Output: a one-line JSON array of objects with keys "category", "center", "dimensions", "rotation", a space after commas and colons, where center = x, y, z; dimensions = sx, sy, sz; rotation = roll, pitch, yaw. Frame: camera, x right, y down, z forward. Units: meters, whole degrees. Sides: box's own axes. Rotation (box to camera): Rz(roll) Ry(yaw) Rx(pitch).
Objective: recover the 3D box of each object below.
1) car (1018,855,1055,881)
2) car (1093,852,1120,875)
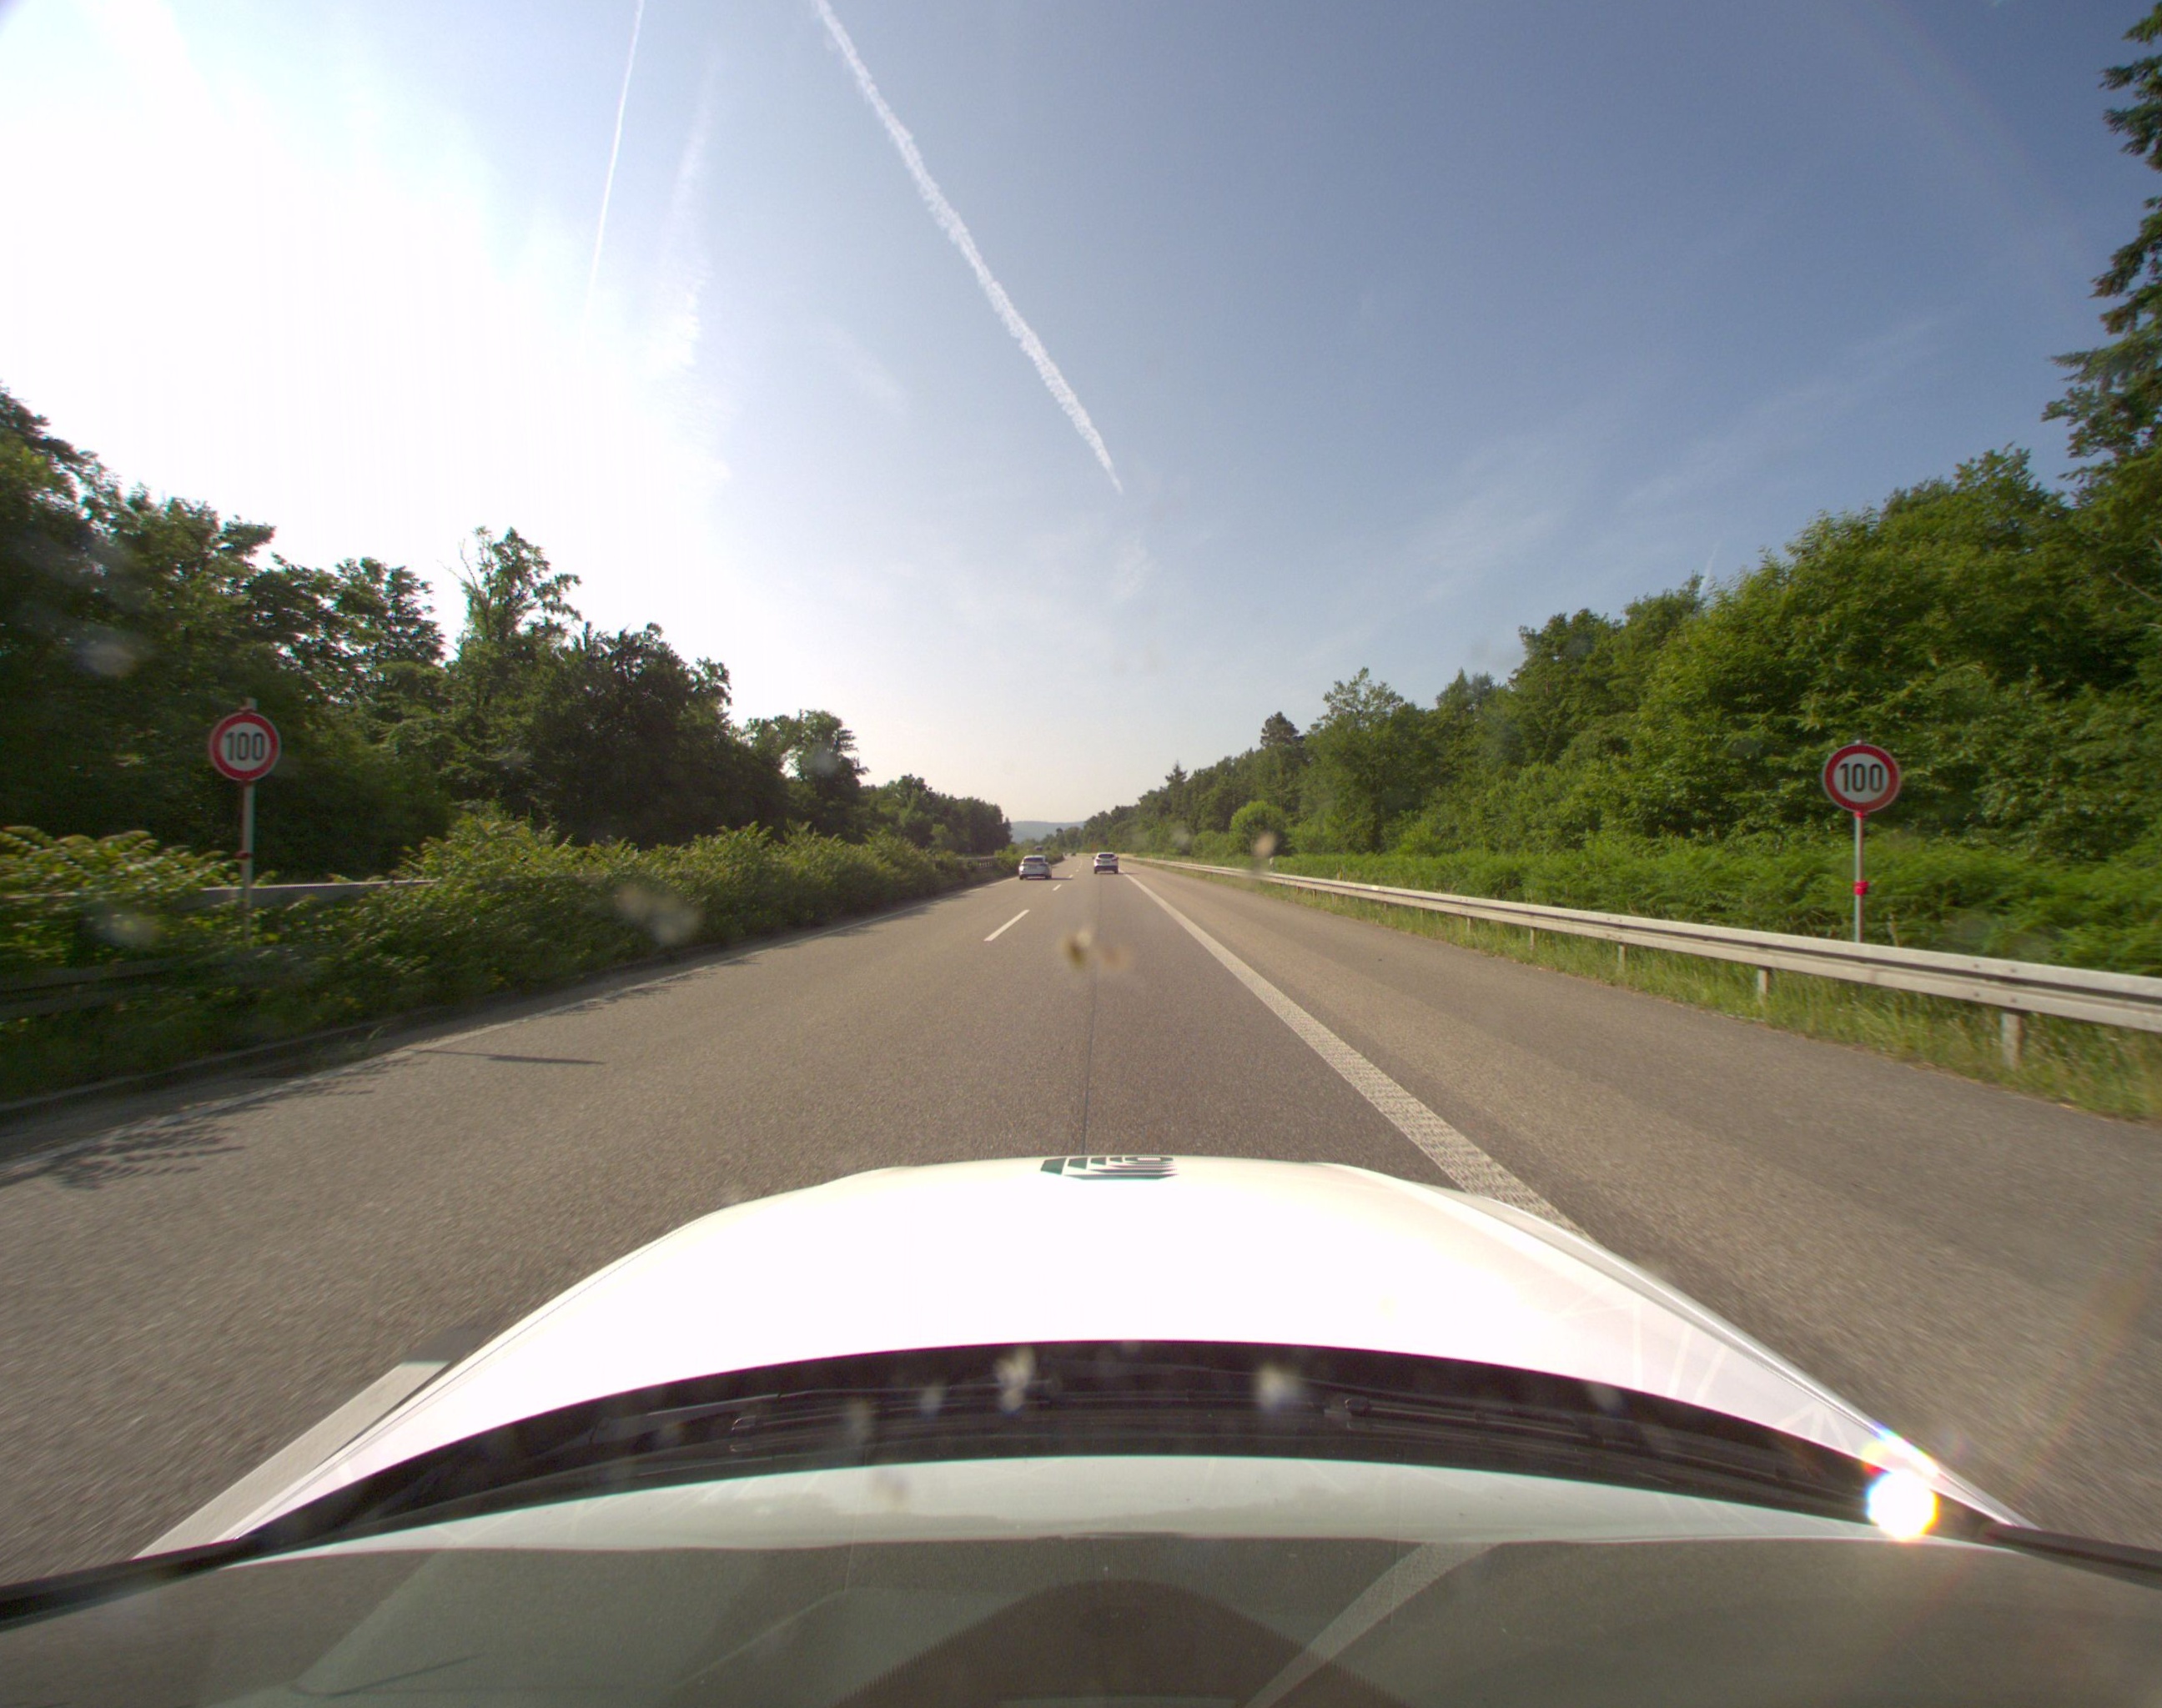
[{"category": "car", "center": [-2.668, 0.845, 50.108], "dimensions": [1.785, 1.438, 5.280], "rotation": [-1, 0, 2]}, {"category": "car", "center": [1.867, 0.696, 61.492], "dimensions": [1.867, 1.586, 3.999], "rotation": [1, 0, 0]}]
